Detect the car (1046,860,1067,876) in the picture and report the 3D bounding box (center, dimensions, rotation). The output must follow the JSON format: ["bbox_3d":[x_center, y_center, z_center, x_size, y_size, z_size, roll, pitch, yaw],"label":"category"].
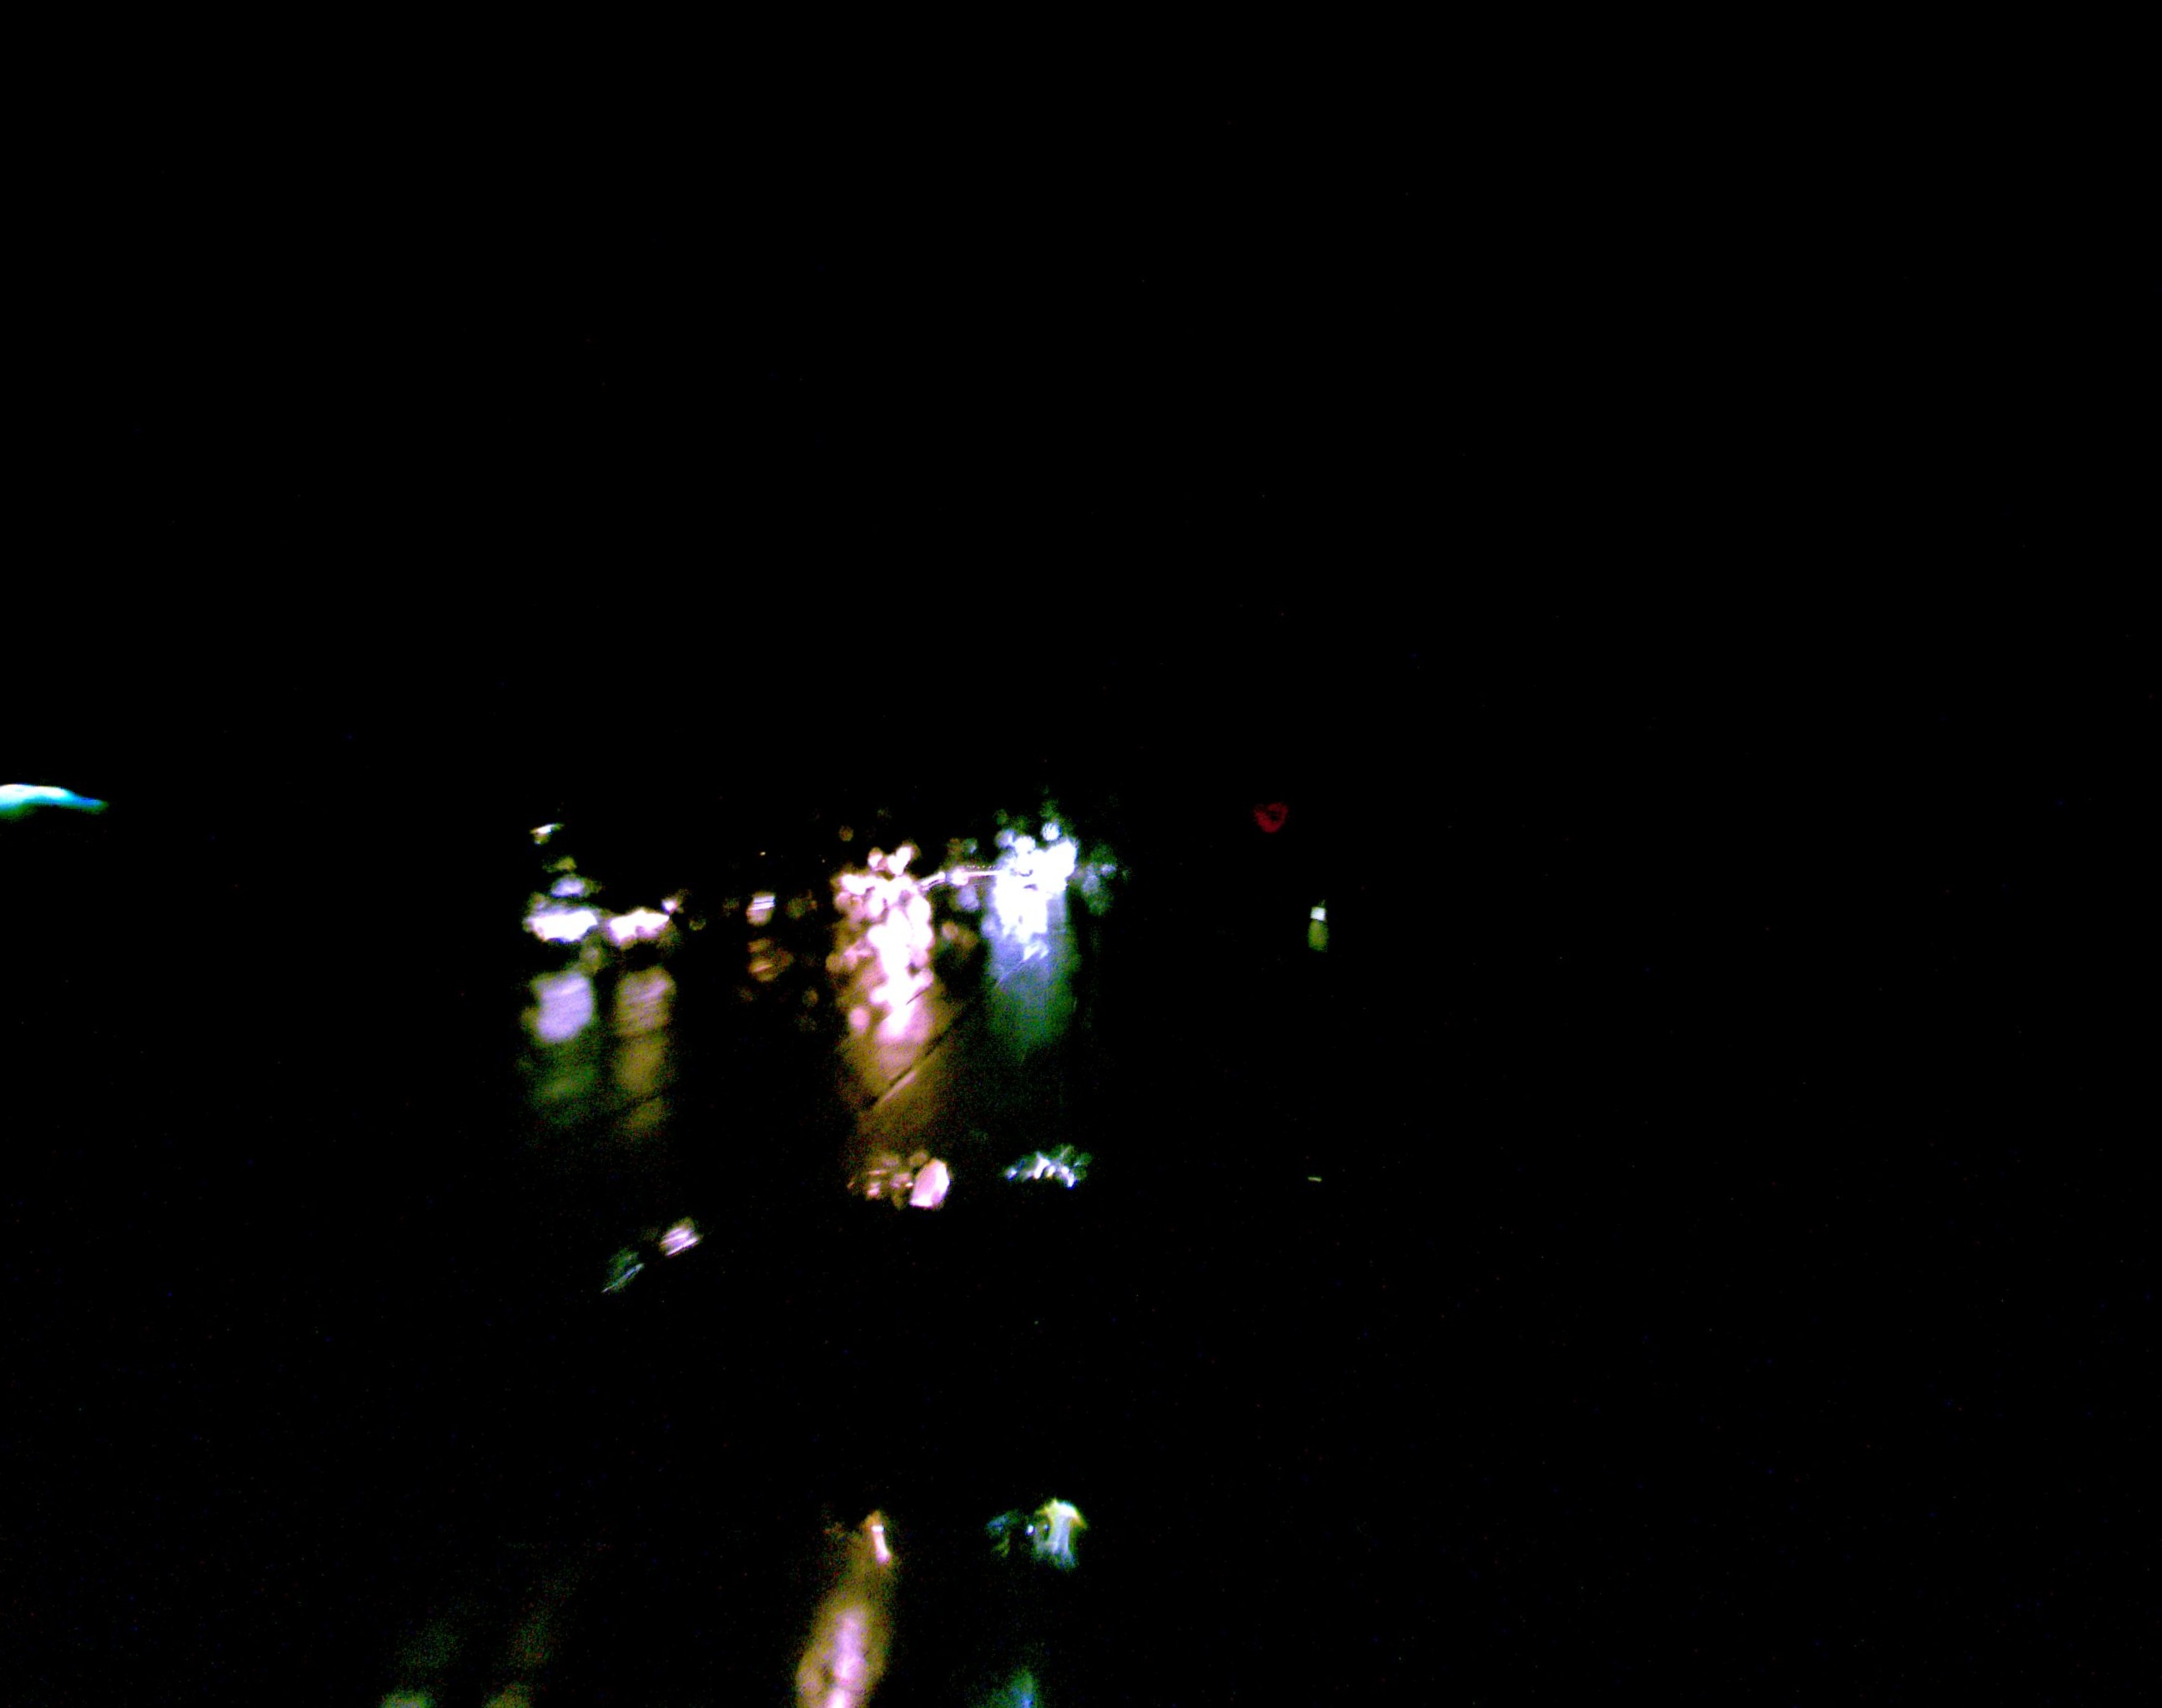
[{"bbox_3d":[-2.461,1.369,81.599,1.916,1.615,4.085,0,-1,1],"label":"car"}]

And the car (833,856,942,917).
[{"bbox_3d":[-6.409,1.008,27.731,1.984,1.865,5.327,-1,0,5],"label":"car"}]

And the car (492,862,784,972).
[{"bbox_3d":[-7.289,0.941,14.179,2.073,1.543,4.905,-1,0,5],"label":"car"}]

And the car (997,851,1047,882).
[{"bbox_3d":[-3.104,0.659,43.724,2.102,1.575,4.682,0,0,3],"label":"car"}]
